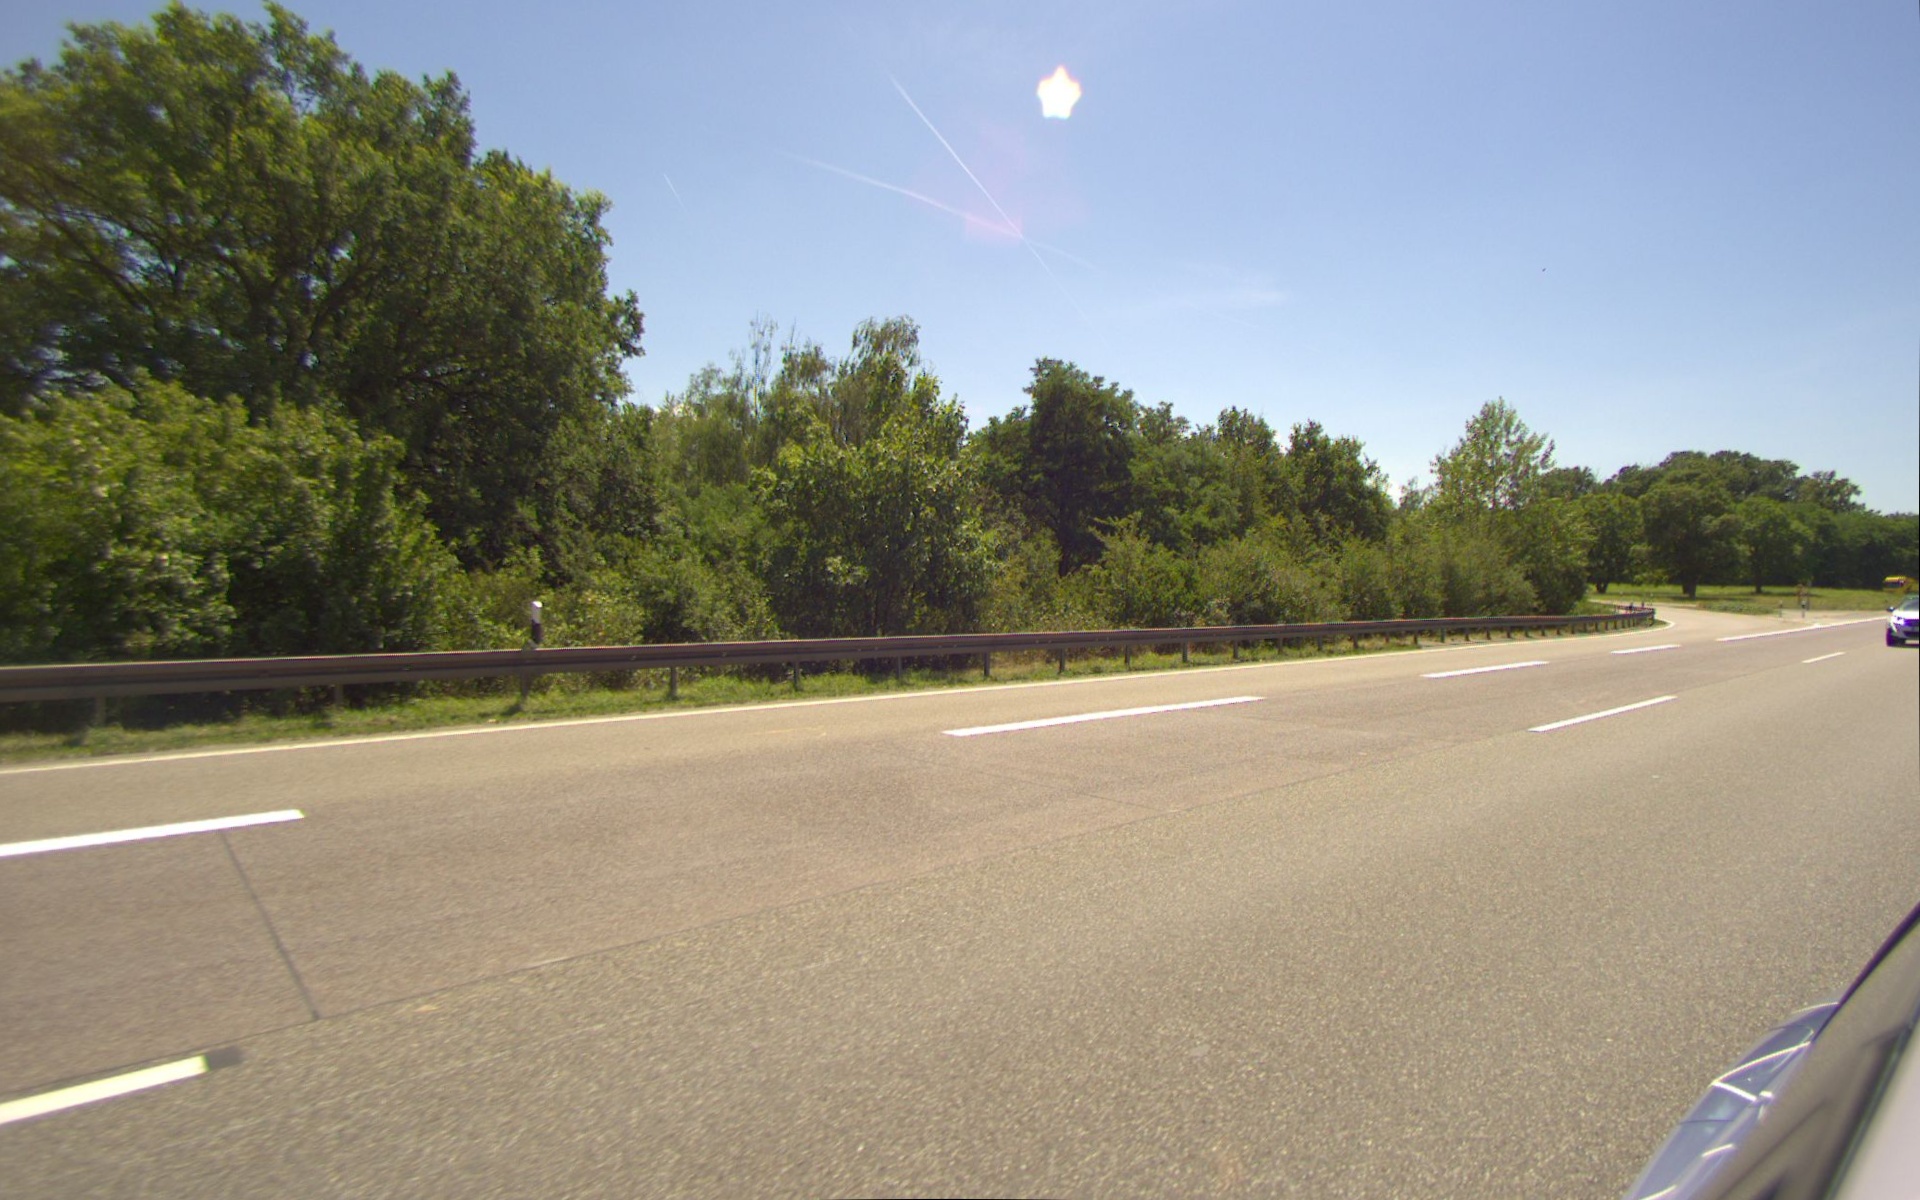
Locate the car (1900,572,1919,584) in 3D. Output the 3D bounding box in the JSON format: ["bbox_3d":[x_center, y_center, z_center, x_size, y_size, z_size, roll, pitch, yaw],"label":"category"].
[{"bbox_3d":[163.147,-3.799,173.398,6.651,2.038,2.559,-1,2,-43],"label":"car"}]

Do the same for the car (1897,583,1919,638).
[{"bbox_3d":[29.856,0.289,30.614,3.931,1.594,1.844,-1,1,-42],"label":"car"}]
